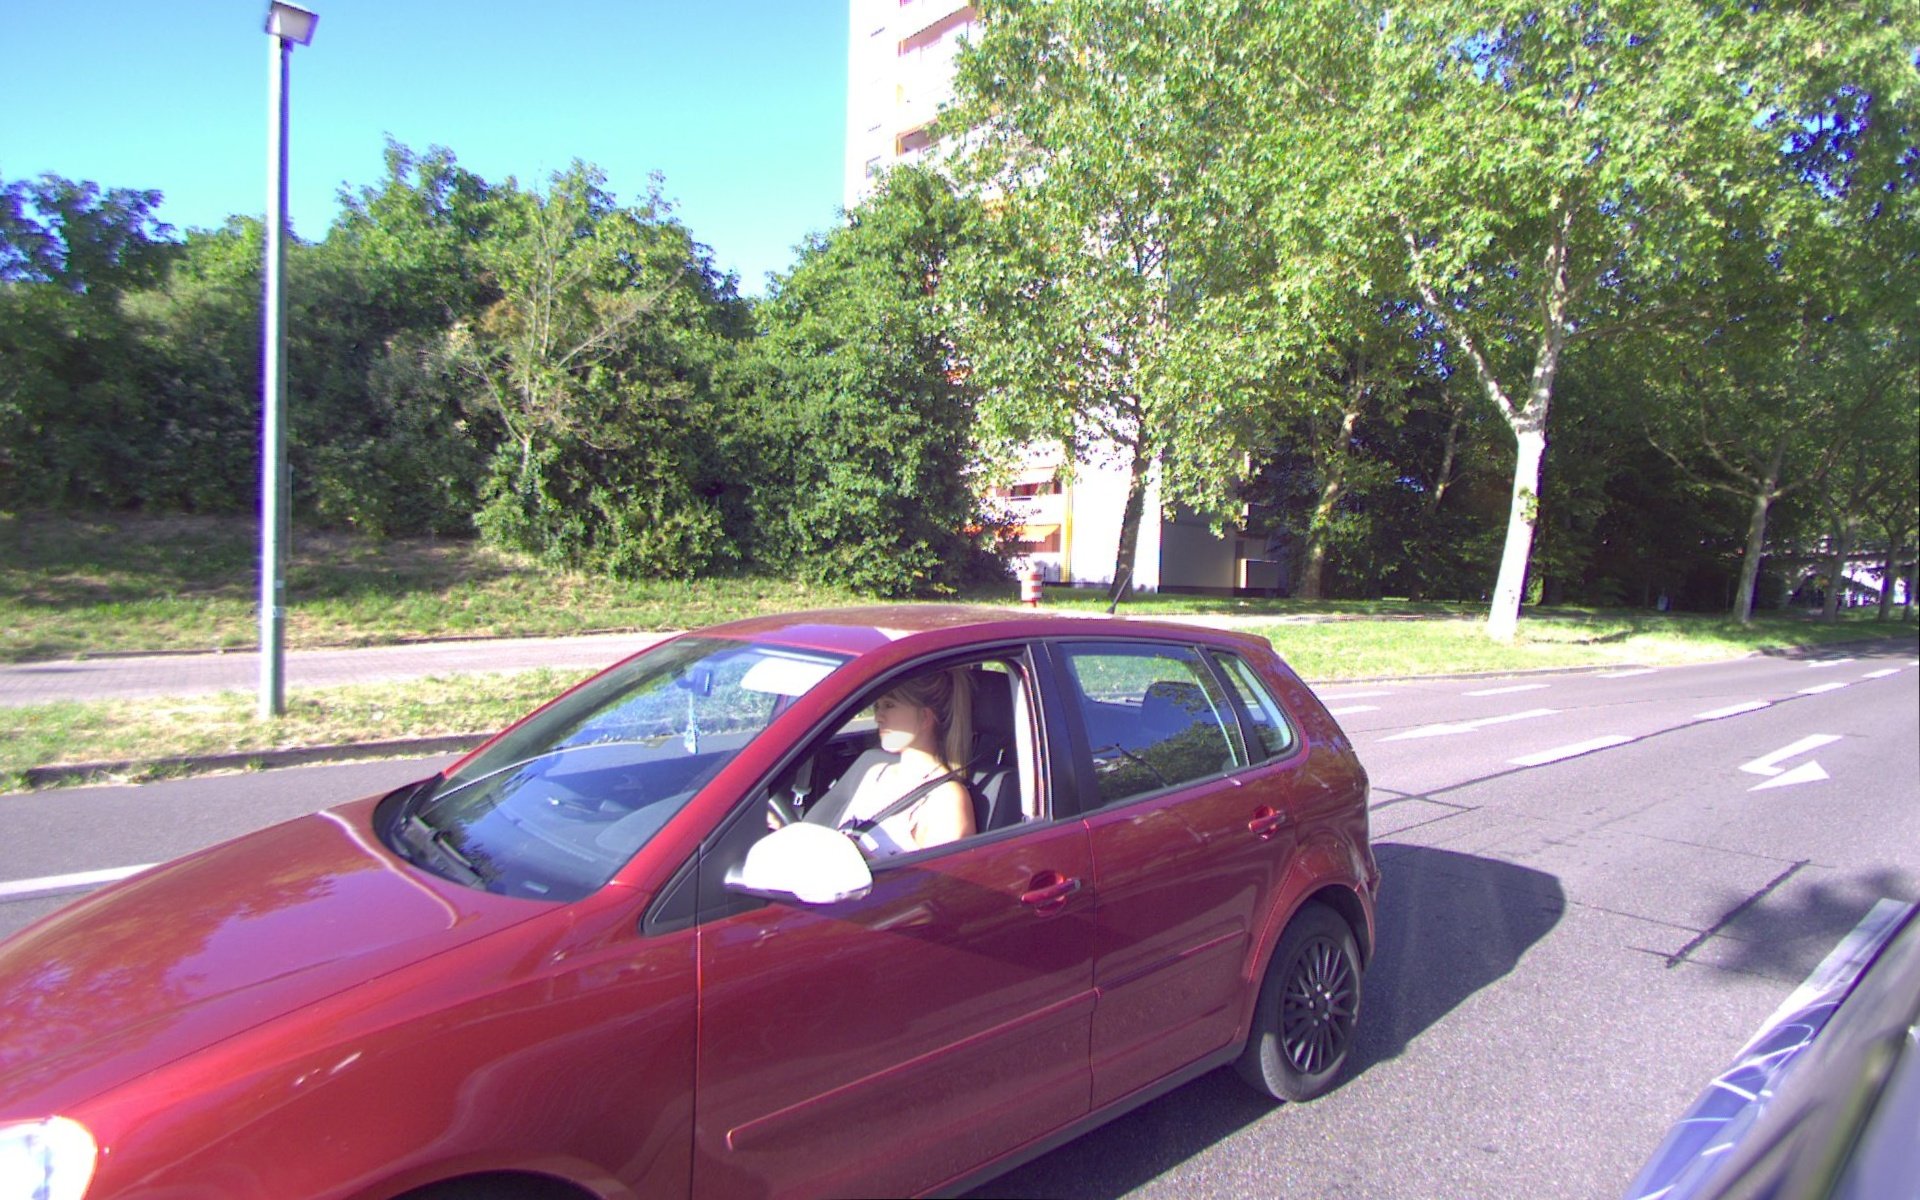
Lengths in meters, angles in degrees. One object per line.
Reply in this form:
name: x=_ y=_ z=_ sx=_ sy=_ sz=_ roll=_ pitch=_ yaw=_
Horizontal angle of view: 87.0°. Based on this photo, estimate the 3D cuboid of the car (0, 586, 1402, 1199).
car: x=-0.452 y=0.710 z=2.723 sx=3.624 sy=1.479 sz=1.579 roll=-1 pitch=0 yaw=-40
